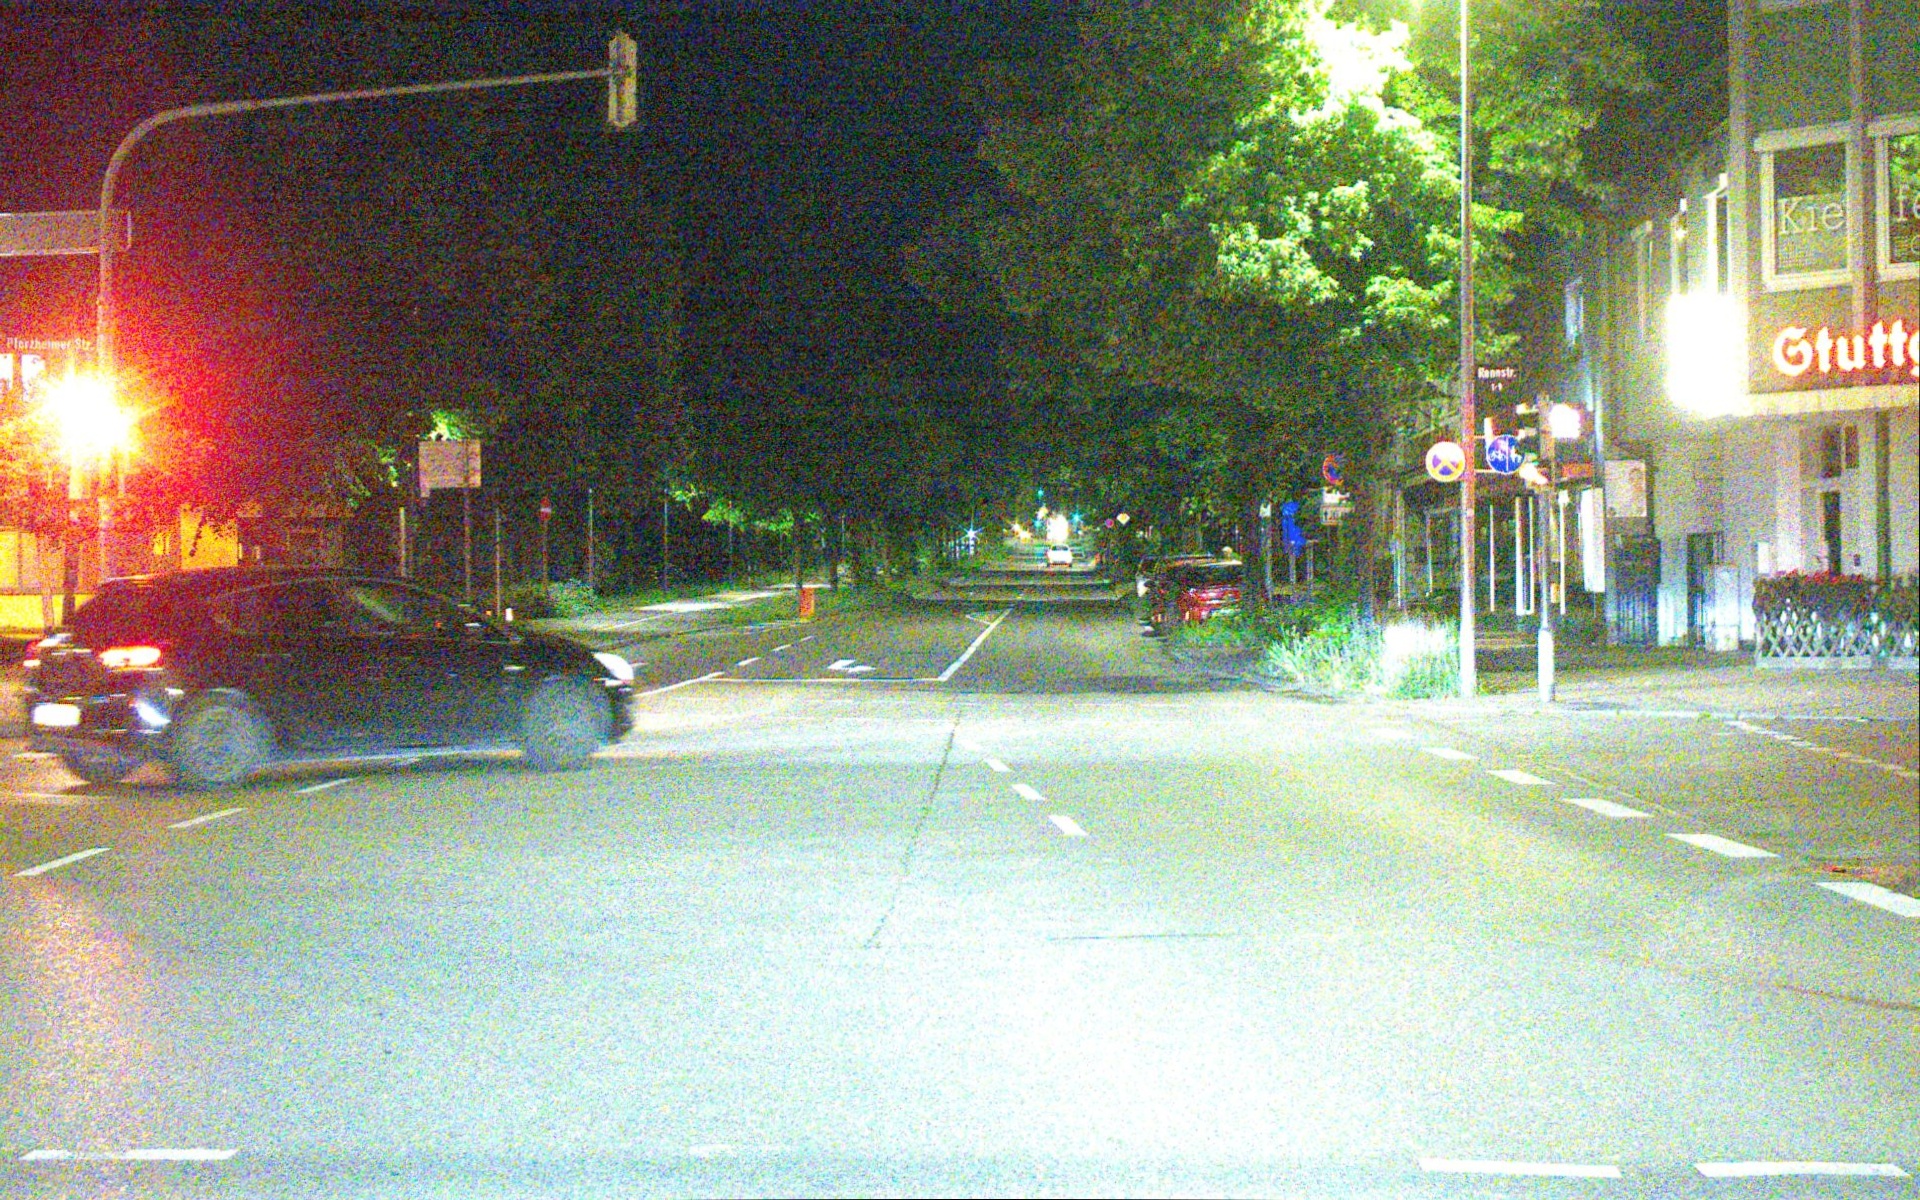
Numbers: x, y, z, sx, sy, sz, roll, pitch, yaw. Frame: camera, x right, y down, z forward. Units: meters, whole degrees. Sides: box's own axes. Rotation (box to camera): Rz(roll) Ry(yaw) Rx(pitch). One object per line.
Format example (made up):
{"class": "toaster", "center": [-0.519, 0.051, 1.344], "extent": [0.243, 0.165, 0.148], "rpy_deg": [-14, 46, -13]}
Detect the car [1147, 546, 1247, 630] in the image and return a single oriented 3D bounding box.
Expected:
{"class": "car", "center": [4.707, -0.260, 68.805], "extent": [1.876, 1.610, 4.000], "rpy_deg": [0, 1, 2]}

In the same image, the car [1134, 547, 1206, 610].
{"class": "car", "center": [5.743, -0.608, 94.533], "extent": [1.876, 1.678, 4.000], "rpy_deg": [0, 1, 2]}

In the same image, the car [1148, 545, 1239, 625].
{"class": "car", "center": [5.167, -0.340, 76.476], "extent": [1.876, 1.723, 4.000], "rpy_deg": [0, 1, 2]}

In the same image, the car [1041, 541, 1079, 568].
{"class": "car", "center": [6.333, -2.885, 218.017], "extent": [2.227, 1.645, 4.000], "rpy_deg": [0, 1, -1]}

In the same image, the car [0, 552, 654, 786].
{"class": "car", "center": [-4.397, 0.427, 23.520], "extent": [4.304, 1.449, 1.879], "rpy_deg": [0, 1, -42]}

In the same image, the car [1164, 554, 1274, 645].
{"class": "car", "center": [4.758, -0.036, 63.491], "extent": [1.876, 1.610, 4.000], "rpy_deg": [0, 1, 2]}
